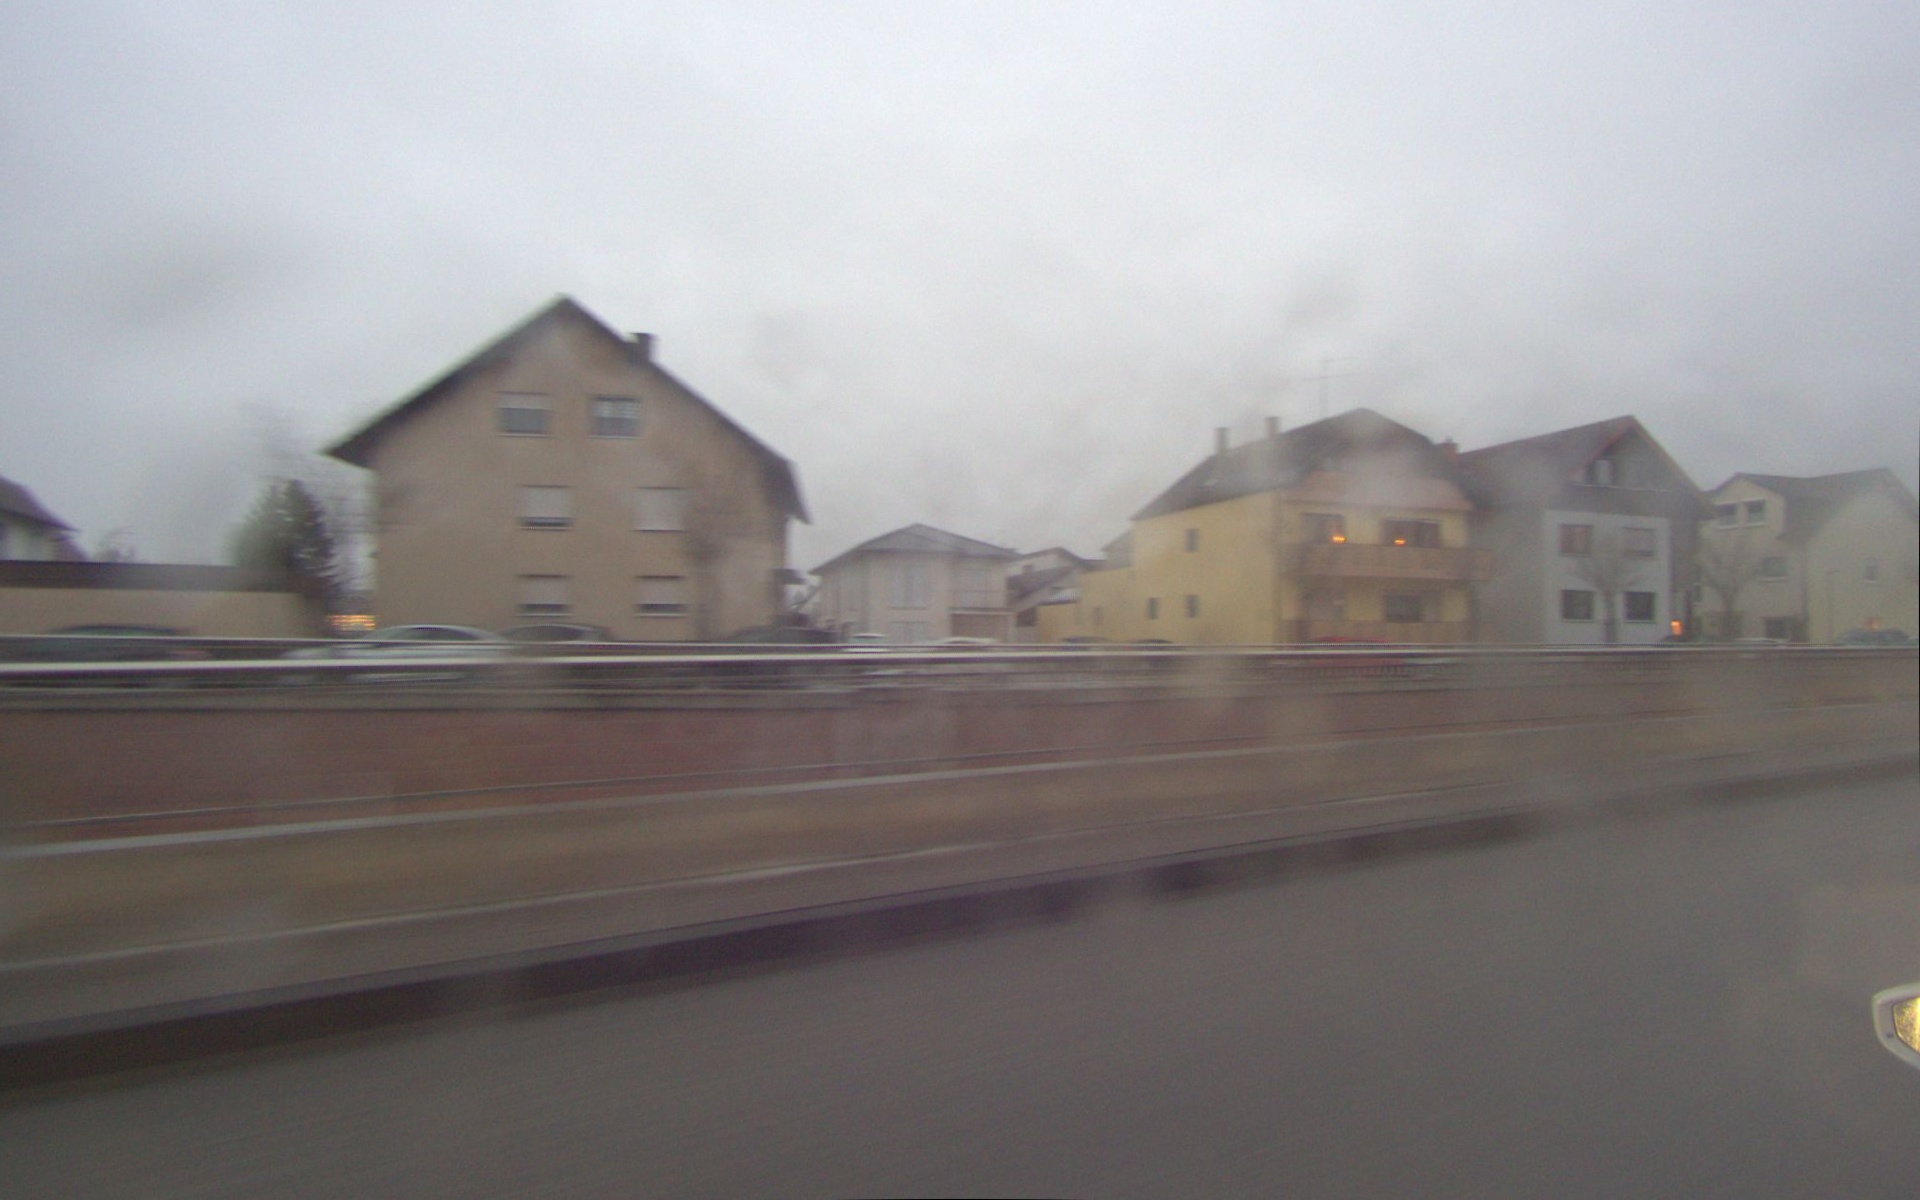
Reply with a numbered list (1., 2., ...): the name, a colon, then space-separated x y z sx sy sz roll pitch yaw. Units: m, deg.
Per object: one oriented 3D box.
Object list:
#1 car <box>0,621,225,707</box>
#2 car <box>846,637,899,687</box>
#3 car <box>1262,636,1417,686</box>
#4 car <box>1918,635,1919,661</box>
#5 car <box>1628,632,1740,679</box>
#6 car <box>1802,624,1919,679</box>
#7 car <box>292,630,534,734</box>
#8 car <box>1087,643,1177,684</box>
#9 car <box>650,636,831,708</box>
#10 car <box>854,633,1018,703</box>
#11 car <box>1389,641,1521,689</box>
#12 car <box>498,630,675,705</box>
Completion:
1. car: -16.181 1.162 18.696 3.787 1.433 1.669 2 0 -29
2. car: -3.191 2.191 36.257 1.779 1.544 4.037 1 0 -6
3. car: 12.063 1.893 31.901 4.580 1.461 1.873 1 -2 -22
4. car: 48.432 2.491 48.161 4.435 1.801 1.871 0 -4 -22
5. car: 28.571 2.147 39.644 3.943 1.704 1.854 1 0 -23
6. car: 31.612 1.810 35.224 3.811 1.827 1.794 1 -3 -27
7. car: -11.507 1.634 21.351 4.306 1.930 1.984 1 0 -30
8. car: 6.897 2.516 40.642 1.969 1.463 3.984 1 -1 -18
9. car: -5.264 1.689 24.097 3.944 1.538 1.892 2 0 -24
10. car: -0.630 1.733 26.420 3.929 1.646 1.812 0 0 -24
11. car: 16.931 2.168 34.358 4.085 1.525 1.872 1 -2 -23
12. car: -9.293 1.610 25.002 3.949 1.669 1.828 1 0 -28
